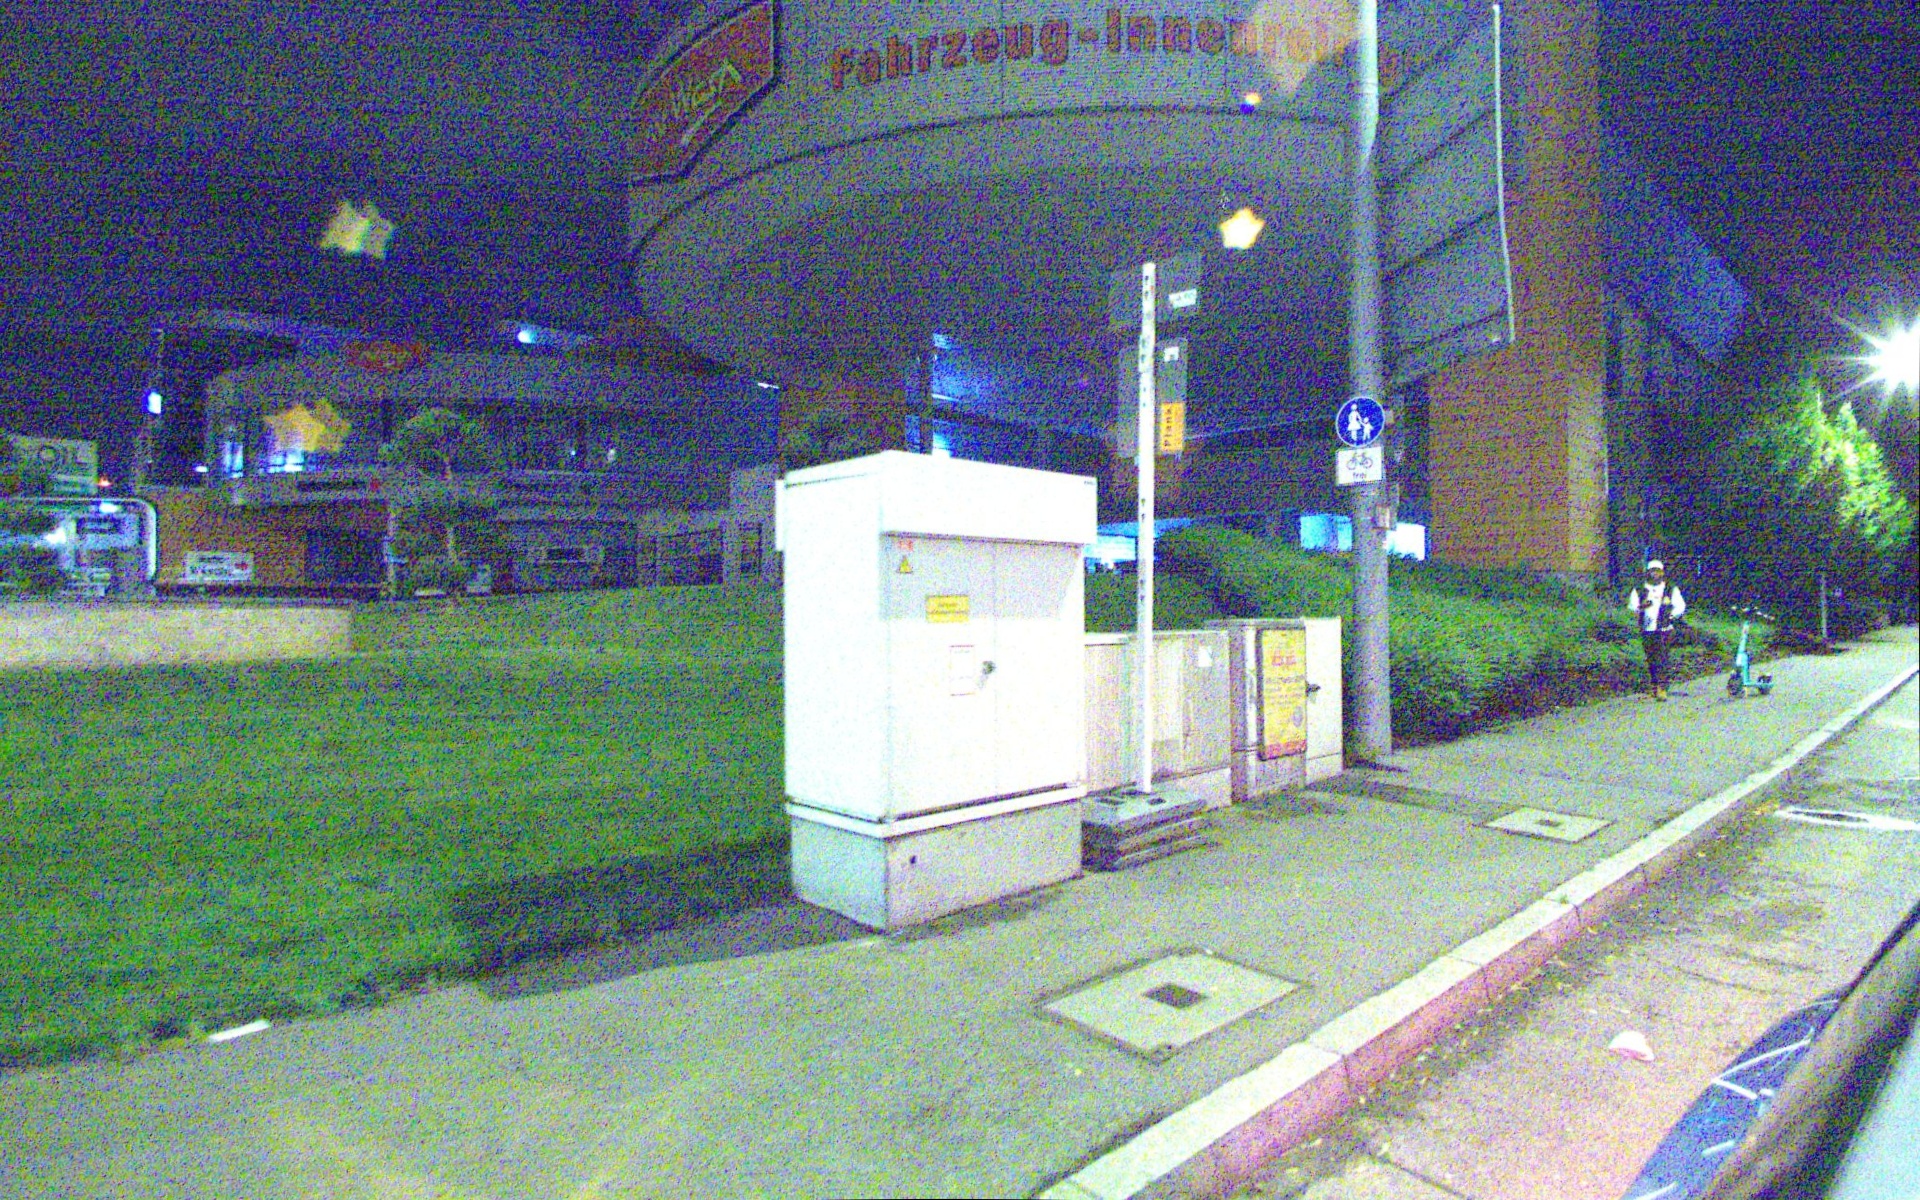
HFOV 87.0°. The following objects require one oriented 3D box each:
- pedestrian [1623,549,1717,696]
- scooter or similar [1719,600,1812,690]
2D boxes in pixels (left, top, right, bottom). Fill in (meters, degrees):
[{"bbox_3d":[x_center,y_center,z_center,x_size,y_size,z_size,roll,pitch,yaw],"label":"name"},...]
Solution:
[{"bbox_3d":[9.597,0.281,13.679,1.016,1.888,0.819,0,0,-41],"label":"pedestrian"},{"bbox_3d":[11.241,0.615,14.124,1.111,1.217,0.470,1,-1,-17],"label":"scooter or similar"}]
